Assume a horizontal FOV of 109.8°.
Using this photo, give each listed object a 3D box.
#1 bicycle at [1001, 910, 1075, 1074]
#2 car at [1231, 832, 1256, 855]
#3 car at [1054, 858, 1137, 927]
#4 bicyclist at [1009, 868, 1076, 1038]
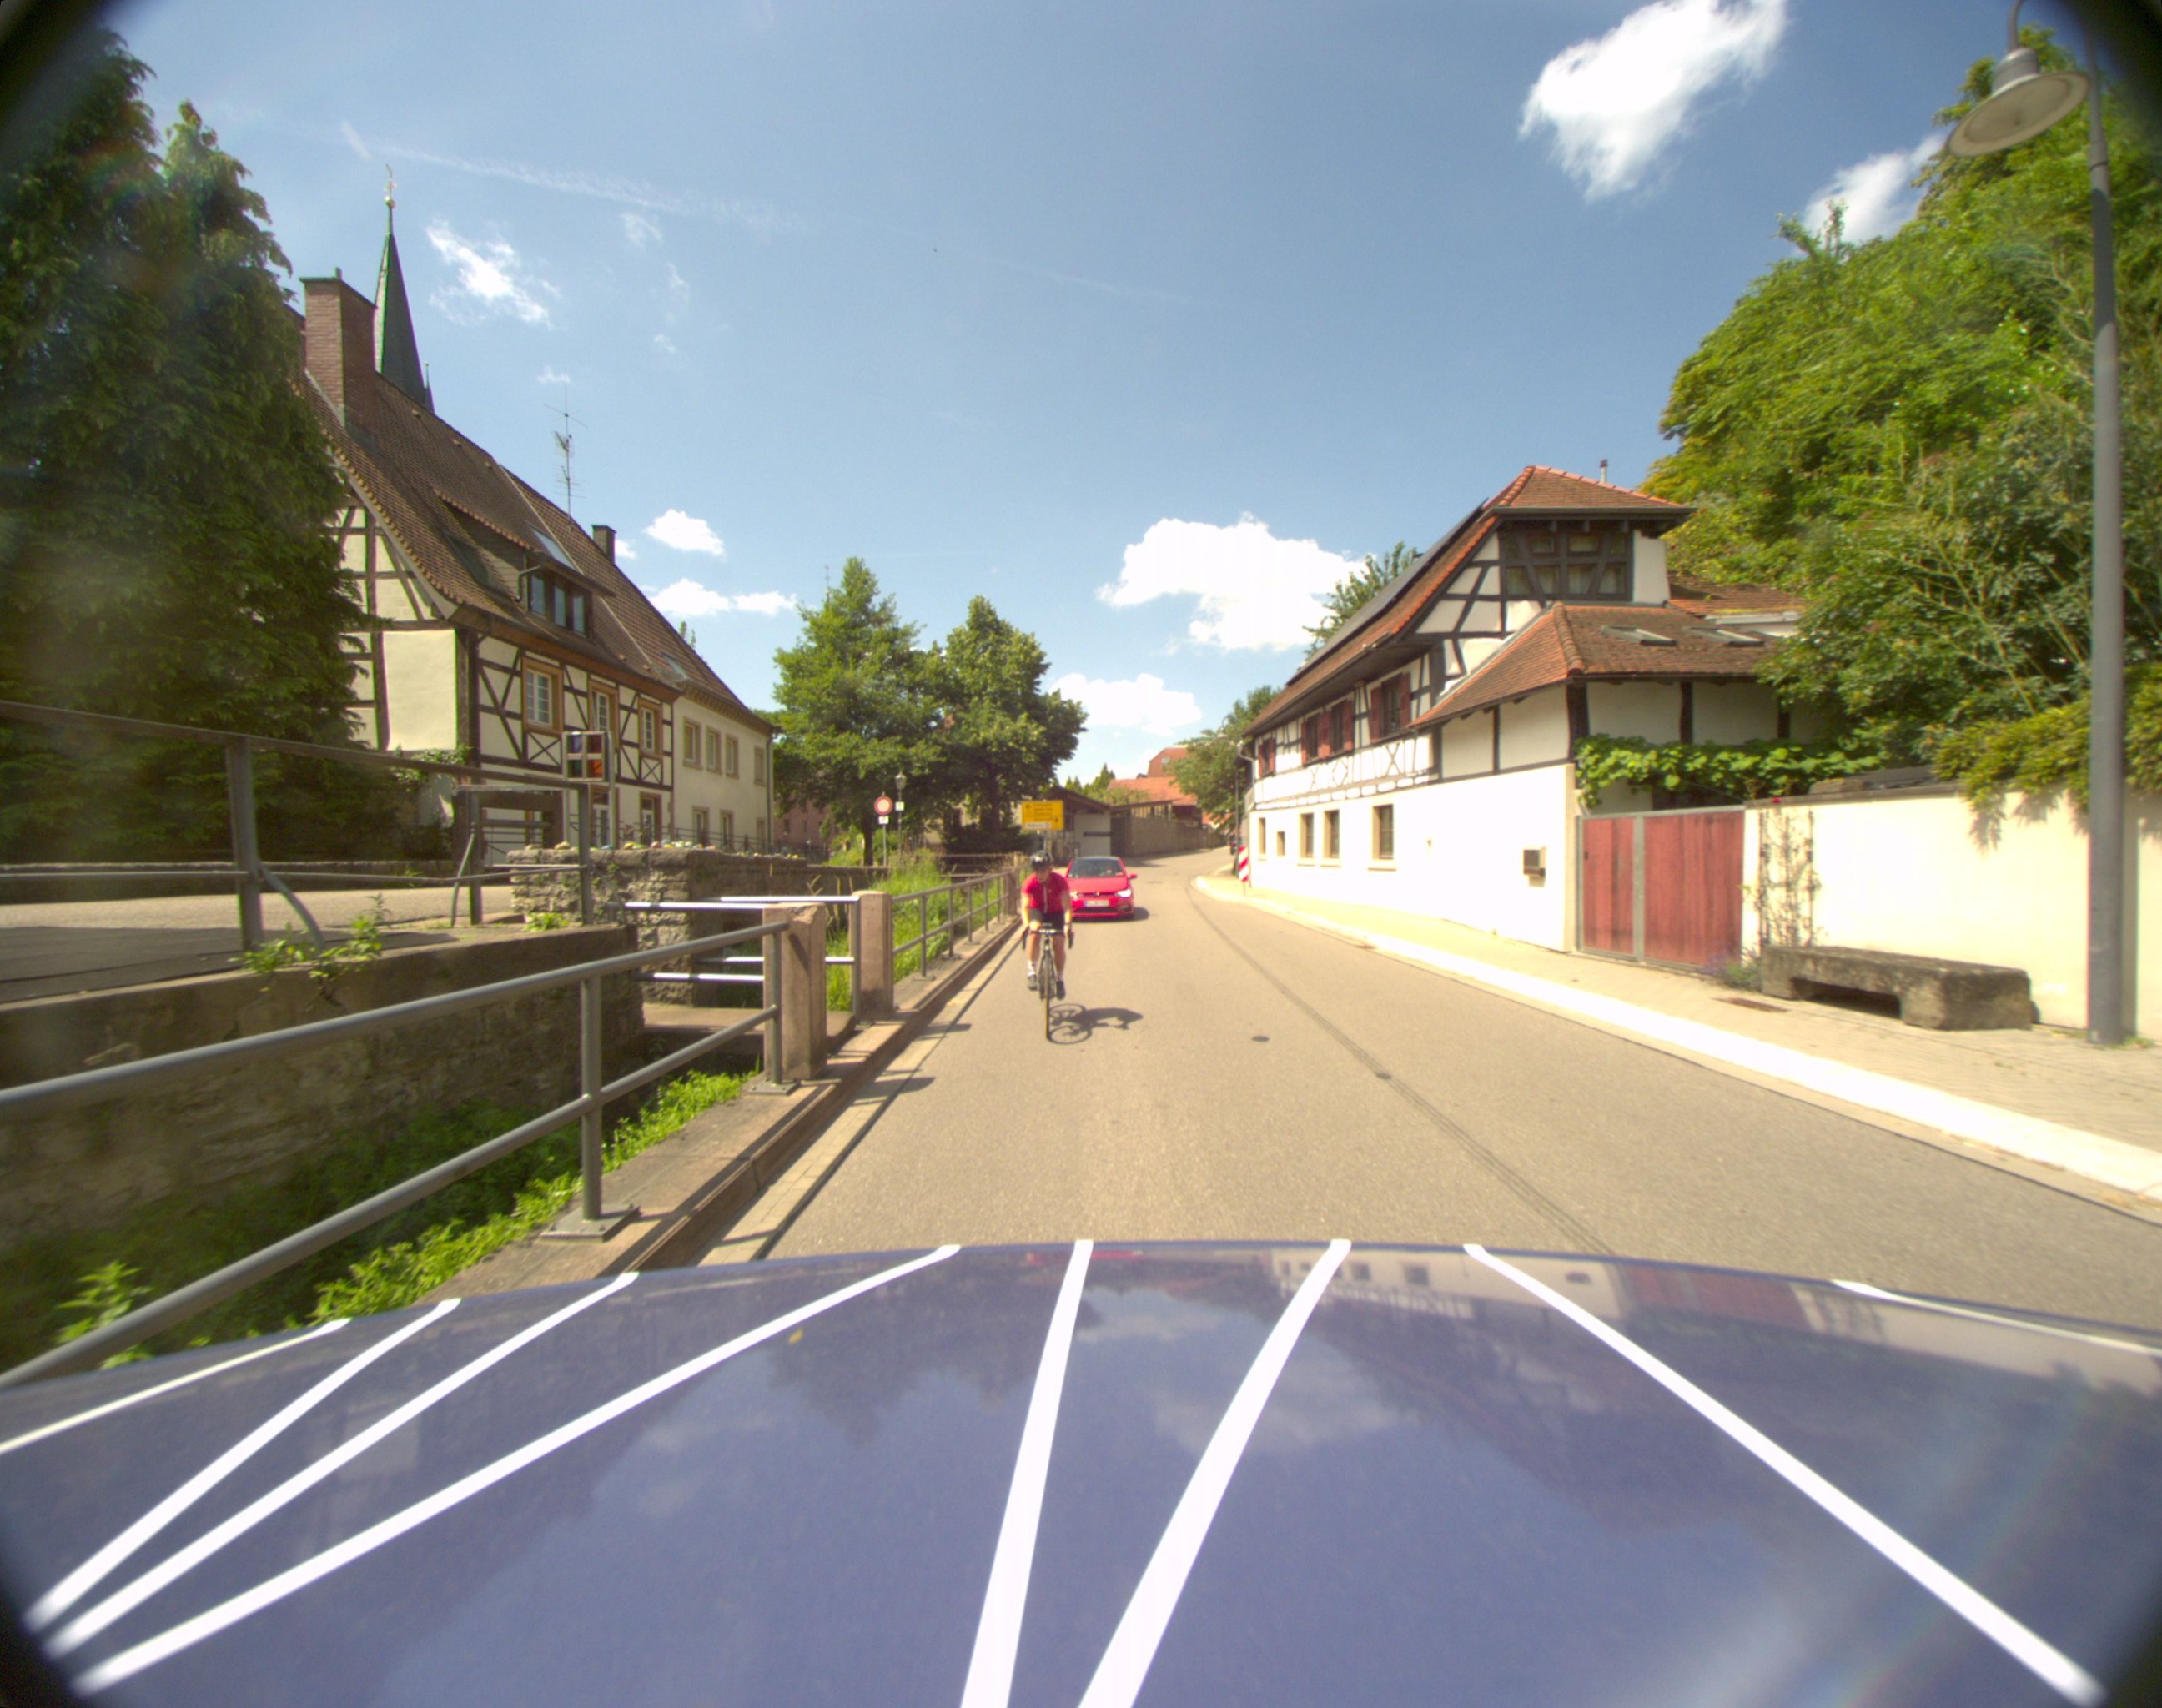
[{"bbox_3d":[-0.341,1.138,6.870,0.531,1.070,2.053,1,1,0],"label":"bicycle"},{"bbox_3d":[12.635,-0.853,58.991,1.701,1.458,4.437,2,4,14],"label":"car"},{"bbox_3d":[0.434,0.828,17.853,1.669,1.344,3.495,-2,1,5],"label":"car"},{"bbox_3d":[-0.323,0.837,6.751,0.532,1.396,0.755,1,2,0],"label":"bicyclist"}]
